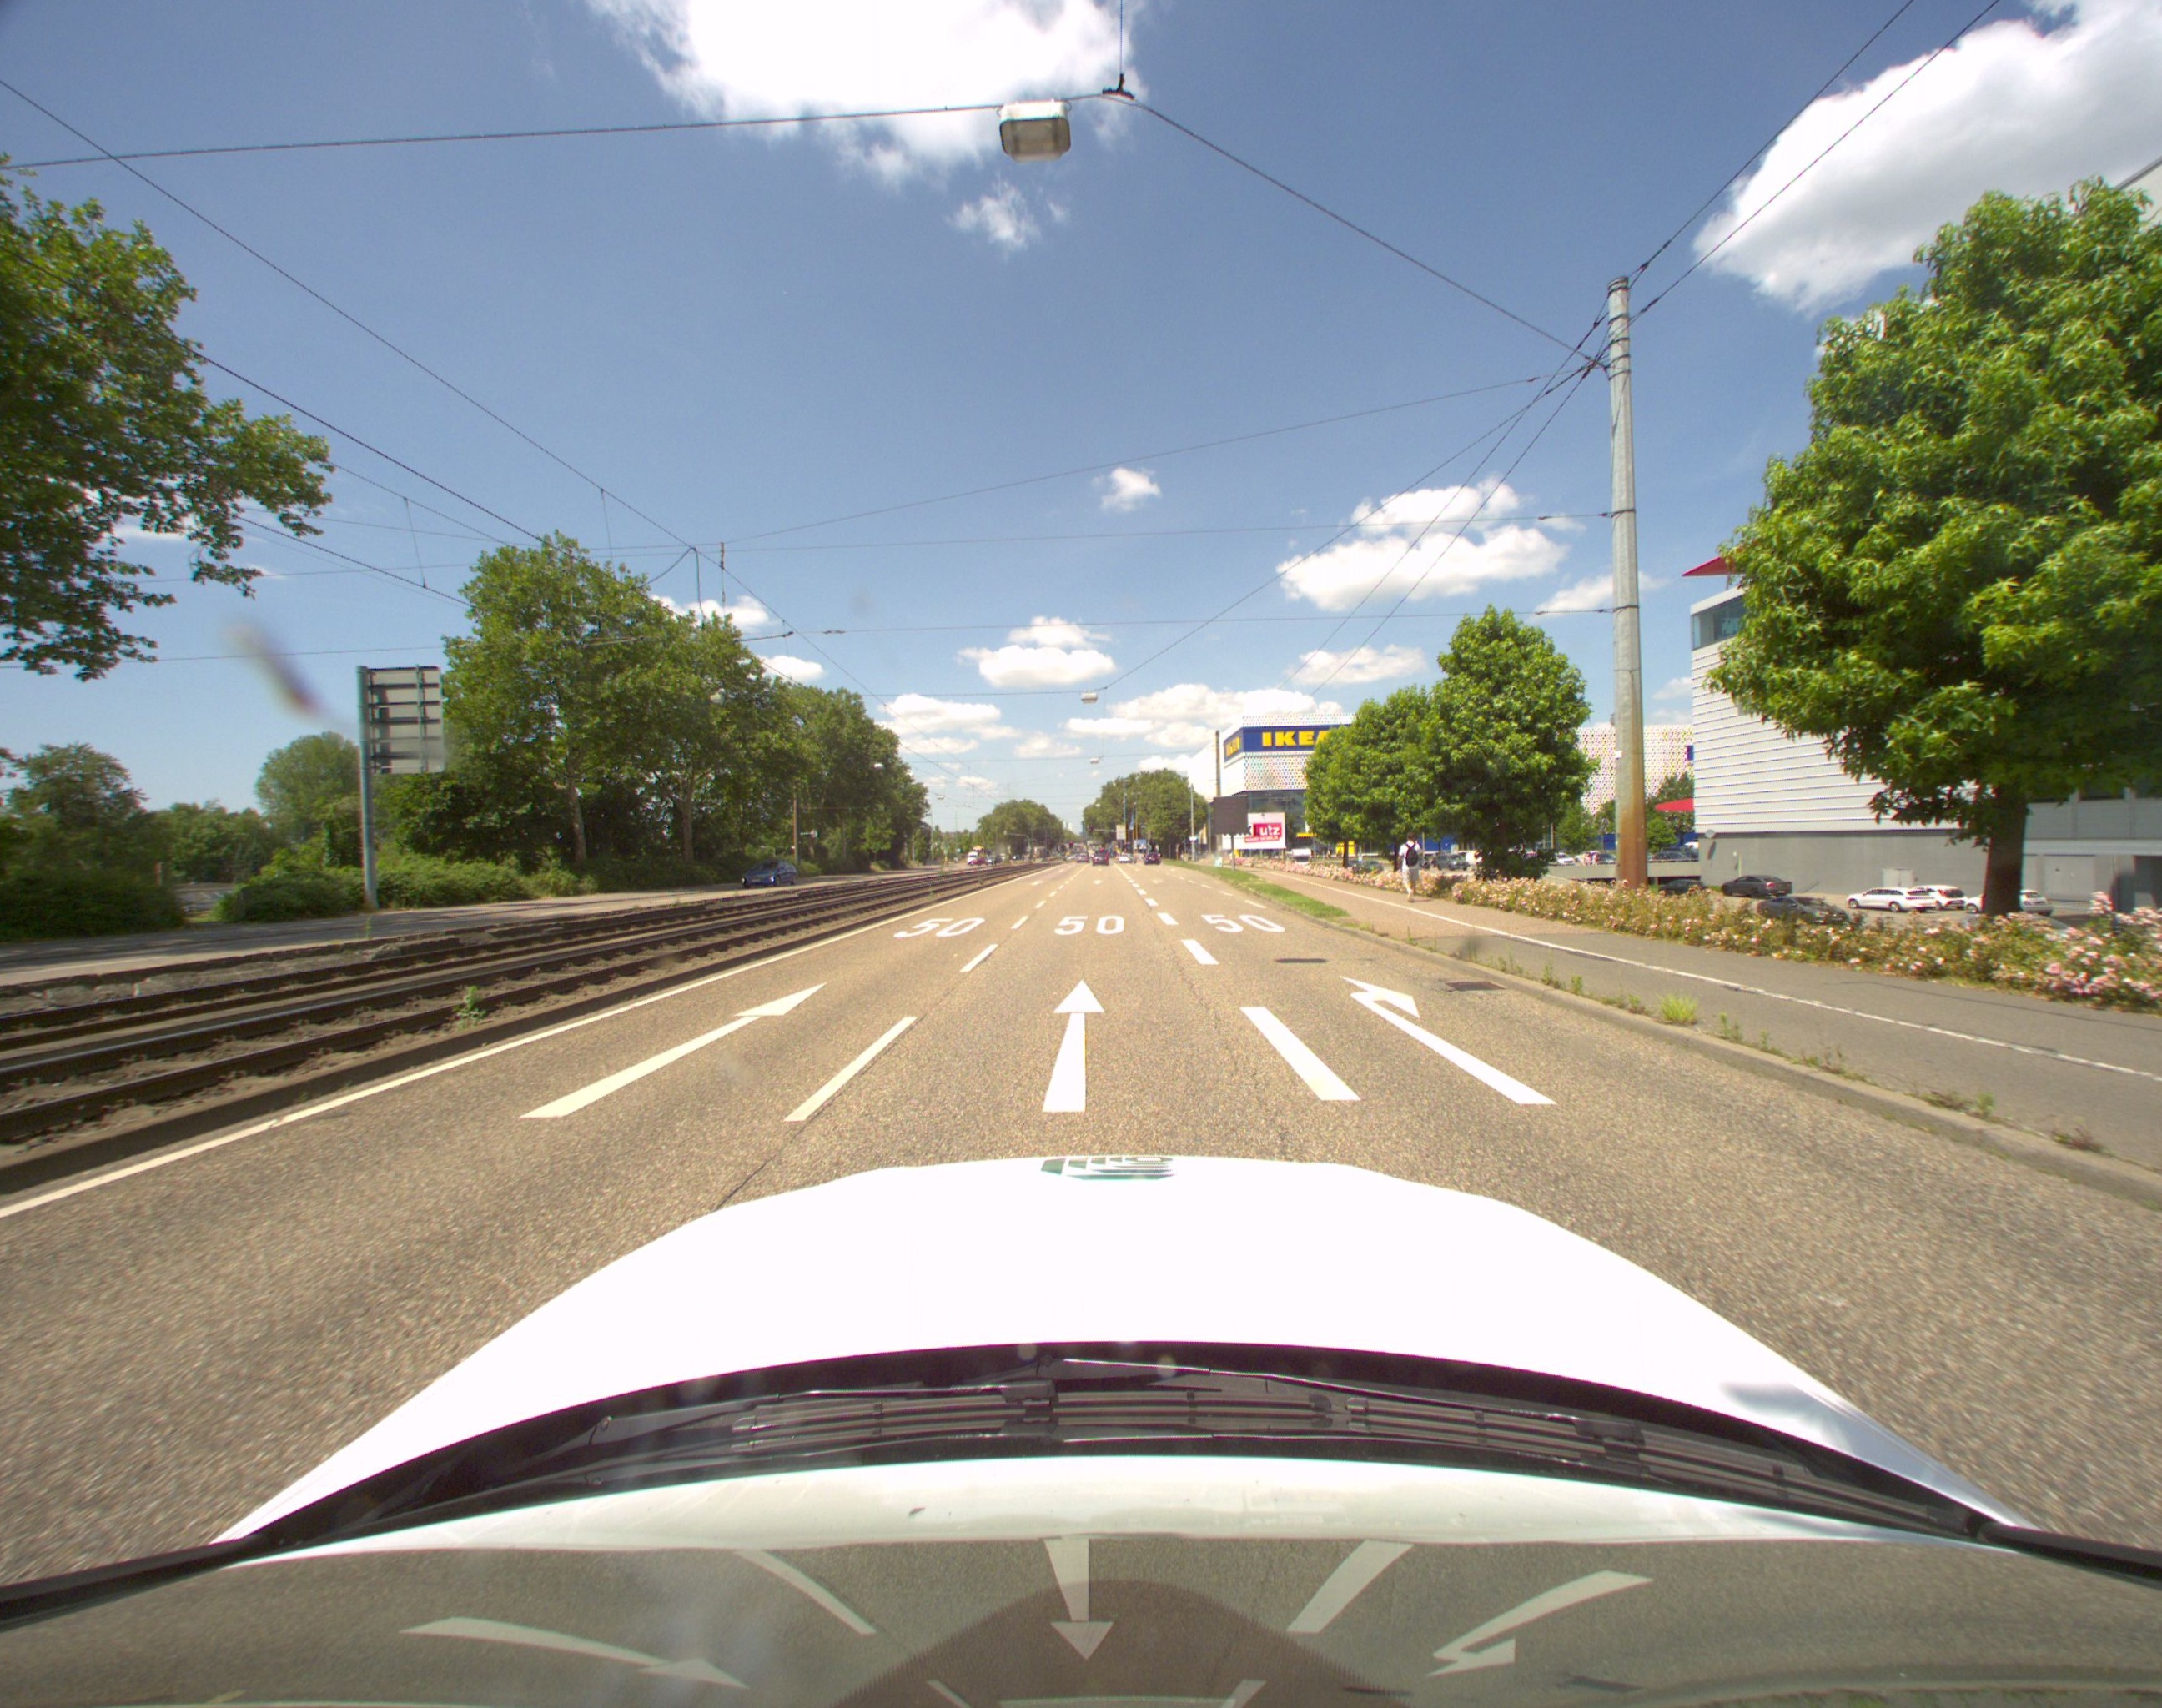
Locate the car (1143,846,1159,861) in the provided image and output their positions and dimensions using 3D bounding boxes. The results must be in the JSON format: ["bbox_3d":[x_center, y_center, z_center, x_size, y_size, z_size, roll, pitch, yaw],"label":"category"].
[{"bbox_3d":[8.935,-0.077,103.826,1.892,1.805,3.978,0,0,2],"label":"car"}]

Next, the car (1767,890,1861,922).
[{"bbox_3d":[40.821,2.877,45.485,1.734,1.483,4.089,0,0,2],"label":"car"}]

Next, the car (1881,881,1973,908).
[{"bbox_3d":[53.045,2.504,51.157,1.734,1.483,3.965,0,0,2],"label":"car"}]

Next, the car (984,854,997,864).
[{"bbox_3d":[-15.155,0.826,136.517,1.617,1.549,3.985,0,0,1],"label":"car"}]

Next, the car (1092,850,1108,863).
[{"bbox_3d":[2.211,0.274,96.260,1.869,1.539,3.777,0,0,1],"label":"car"}]

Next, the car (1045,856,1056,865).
[{"bbox_3d":[-5.459,1.116,146.474,1.836,1.549,3.776,0,0,0],"label":"car"}]

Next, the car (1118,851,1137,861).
[{"bbox_3d":[7.252,0.338,127.793,1.670,1.549,4.006,0,0,23],"label":"car"}]

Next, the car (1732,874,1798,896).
[{"bbox_3d":[51.176,2.324,60.997,1.734,1.483,3.965,0,0,2],"label":"car"}]

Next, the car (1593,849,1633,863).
[{"bbox_3d":[54.784,0.199,83.933,1.566,1.483,3.887,0,0,0],"label":"car"}]

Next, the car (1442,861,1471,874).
[{"bbox_3d":[43.754,1.553,95.052,1.566,1.483,3.887,0,0,0],"label":"car"}]

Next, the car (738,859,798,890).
[{"bbox_3d":[-16.940,1.097,44.259,1.639,1.550,4.215,0,0,-1],"label":"car"}]

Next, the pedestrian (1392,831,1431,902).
[{"bbox_3d":[8.567,0.308,21.137,0.666,1.792,0.925,0,0,3],"label":"pedestrian"}]

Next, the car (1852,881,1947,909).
[{"bbox_3d":[50.475,2.515,50.370,1.734,1.483,4.241,0,0,2],"label":"car"}]

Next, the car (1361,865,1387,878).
[{"bbox_3d":[34.165,2.020,95.091,1.566,1.483,3.887,0,0,0],"label":"car"}]

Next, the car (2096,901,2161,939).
[{"bbox_3d":[47.458,2.900,35.270,1.735,1.483,4.238,0,0,0],"label":"car"}]

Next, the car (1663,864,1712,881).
[{"bbox_3d":[62.416,1.845,83.878,1.867,1.644,4.292,0,0,1],"label":"car"}]

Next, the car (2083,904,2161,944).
[{"bbox_3d":[45.015,2.943,33.785,1.735,1.483,4.238,0,0,0],"label":"car"}]

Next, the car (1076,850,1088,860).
[{"bbox_3d":[0.206,0.183,129.415,1.836,1.549,3.776,0,0,0],"label":"car"}]

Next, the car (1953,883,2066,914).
[{"bbox_3d":[52.955,2.508,46.569,1.734,1.483,4.241,0,0,2],"label":"car"}]

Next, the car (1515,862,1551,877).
[{"bbox_3d":[47.009,1.554,84.811,1.566,1.483,3.887,0,0,0],"label":"car"}]

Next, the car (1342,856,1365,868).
[{"bbox_3d":[36.878,1.040,110.211,1.734,1.540,3.997,0,0,-2],"label":"car"}]

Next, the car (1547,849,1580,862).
[{"bbox_3d":[56.377,0.151,95.264,1.566,1.483,3.887,0,0,0],"label":"car"}]

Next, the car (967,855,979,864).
[{"bbox_3d":[-19.164,0.995,144.781,1.617,1.549,3.985,0,0,1],"label":"car"}]

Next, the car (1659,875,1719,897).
[{"bbox_3d":[46.394,2.403,62.210,1.734,1.483,3.965,0,0,2],"label":"car"}]

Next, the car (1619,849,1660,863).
[{"bbox_3d":[57.761,0.181,84.324,1.566,1.483,3.887,0,0,0],"label":"car"}]

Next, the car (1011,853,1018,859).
[{"bbox_3d":[-19.674,0.593,240.975,1.618,1.549,3.703,0,0,0],"label":"car"}]

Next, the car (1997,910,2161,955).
[{"bbox_3d":[40.028,3.100,32.742,1.581,1.393,4.236,0,0,-2],"label":"car"}]

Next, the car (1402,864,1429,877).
[{"bbox_3d":[39.080,1.903,95.274,1.566,1.483,3.887,0,0,0],"label":"car"}]
